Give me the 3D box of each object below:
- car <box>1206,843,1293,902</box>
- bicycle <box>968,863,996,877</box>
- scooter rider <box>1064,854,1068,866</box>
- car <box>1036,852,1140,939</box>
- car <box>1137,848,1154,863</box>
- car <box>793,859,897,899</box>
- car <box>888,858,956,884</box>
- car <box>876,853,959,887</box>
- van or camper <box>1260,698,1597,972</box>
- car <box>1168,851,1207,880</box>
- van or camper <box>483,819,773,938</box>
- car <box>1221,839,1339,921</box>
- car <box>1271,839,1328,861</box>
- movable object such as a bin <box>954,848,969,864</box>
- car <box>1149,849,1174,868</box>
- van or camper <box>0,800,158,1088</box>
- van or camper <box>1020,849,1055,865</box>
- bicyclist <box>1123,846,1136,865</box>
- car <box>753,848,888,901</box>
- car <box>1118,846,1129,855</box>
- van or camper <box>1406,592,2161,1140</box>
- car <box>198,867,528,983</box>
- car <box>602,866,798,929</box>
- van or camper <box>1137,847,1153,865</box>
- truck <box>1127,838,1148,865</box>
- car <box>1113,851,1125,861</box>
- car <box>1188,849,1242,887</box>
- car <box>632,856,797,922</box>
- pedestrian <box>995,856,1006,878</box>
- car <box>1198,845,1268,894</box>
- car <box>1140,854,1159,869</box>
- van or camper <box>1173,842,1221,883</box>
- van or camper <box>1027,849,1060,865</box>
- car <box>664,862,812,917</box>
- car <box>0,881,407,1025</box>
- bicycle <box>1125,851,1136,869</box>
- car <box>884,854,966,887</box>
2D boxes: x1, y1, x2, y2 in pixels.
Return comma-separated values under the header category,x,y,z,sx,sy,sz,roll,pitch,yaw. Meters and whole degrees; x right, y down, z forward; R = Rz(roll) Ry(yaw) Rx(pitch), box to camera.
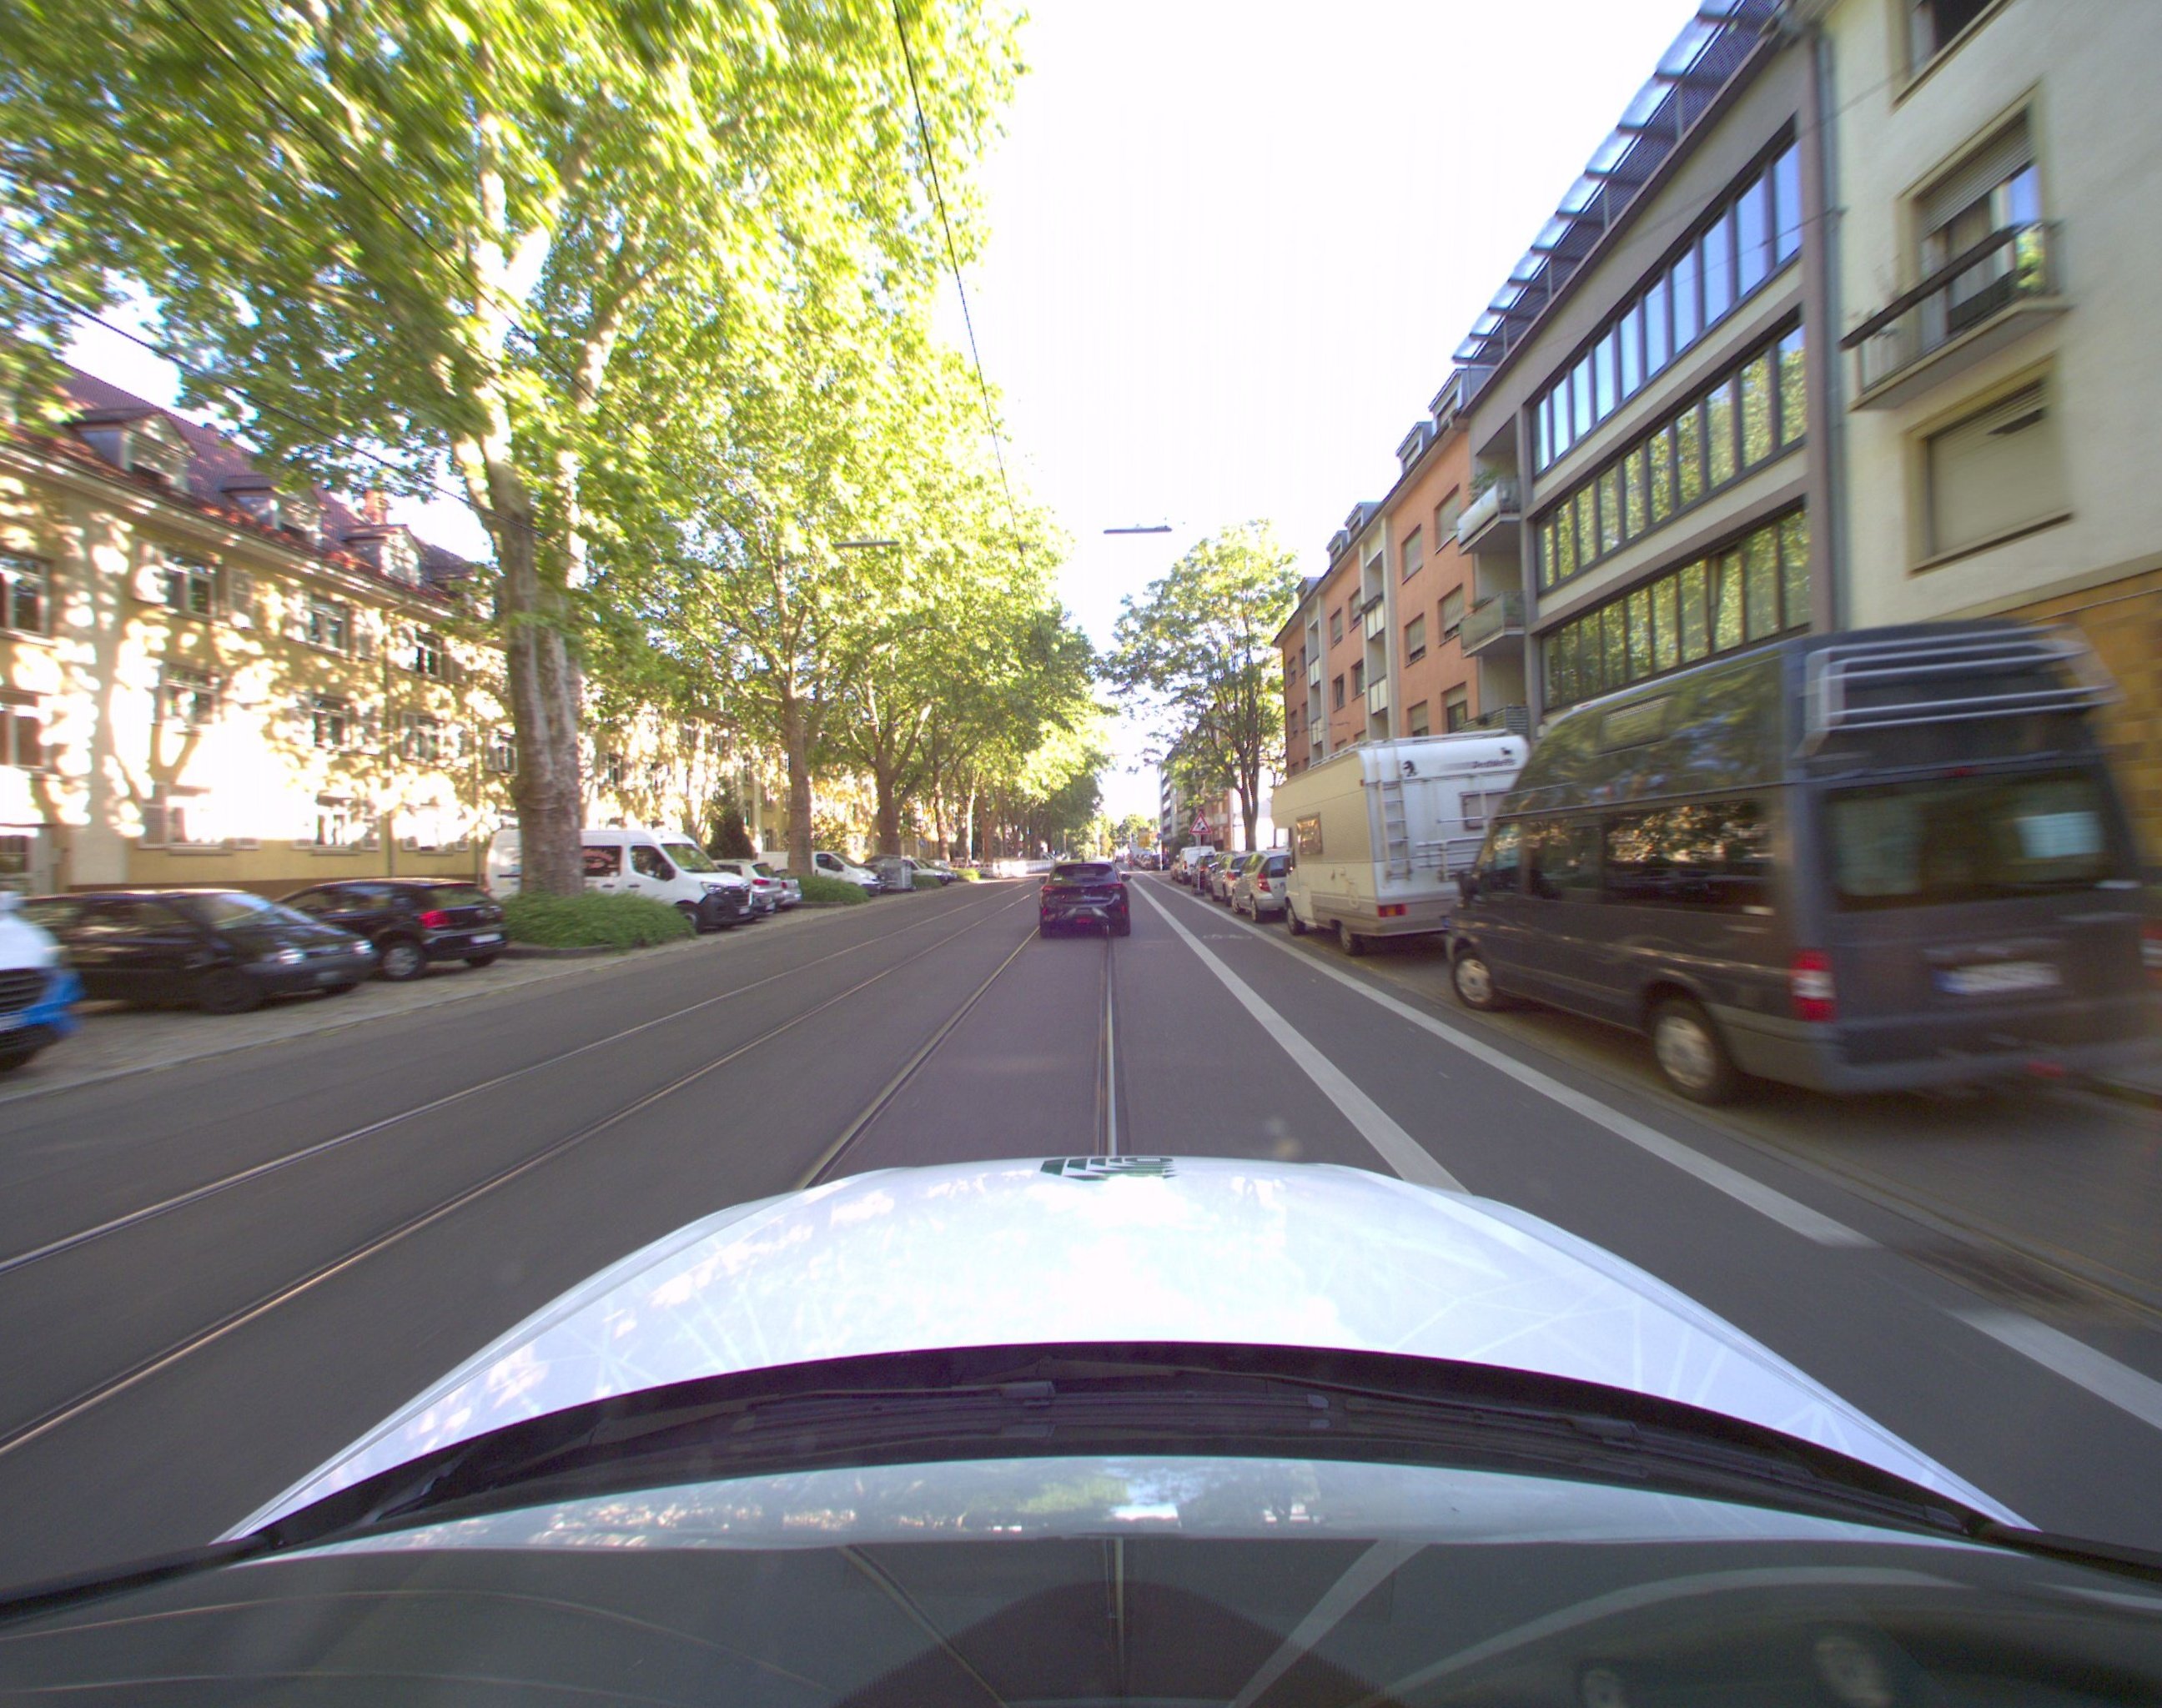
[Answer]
category,x,y,z,sx,sy,sz,roll,pitch,yaw
car,4.989,0.504,24.681,1.781,1.522,4.323,-4,0,1
bicycle,-7.469,1.227,61.333,1.964,0.963,0.726,-2,0,2
scooter rider,-2.428,0.995,132.510,0.647,1.957,0.624,-1,-1,2
car,0.177,0.723,16.228,1.775,1.496,4.001,-1,0,1
car,7.139,0.142,89.856,1.653,1.580,3.591,-3,0,2
car,-10.071,1.038,34.960,3.832,1.498,1.863,-2,0,2
car,-10.063,1.069,51.742,3.832,1.498,1.863,-2,0,2
car,-9.057,0.877,45.290,4.181,1.757,1.741,-1,0,2
van or camper,4.770,-0.227,12.688,2.454,3.064,6.268,-4,0,0
car,5.937,0.602,45.801,1.699,1.473,4.002,-2,0,2
van or camper,-10.433,0.538,19.114,5.368,2.516,2.446,-1,0,2
car,4.605,0.552,19.504,1.786,1.628,4.278,-4,0,1
car,16.503,-0.279,61.646,3.900,1.482,1.562,-2,3,0
movable object such as a bin,-13.709,0.226,93.271,1.328,1.869,2.008,-1,-1,2
car,6.926,0.398,70.261,1.727,1.462,3.917,-4,0,1
van or camper,-10.625,0.734,6.100,4.807,2.190,2.118,-1,0,-2
van or camper,-7.102,0.491,133.318,5.475,2.379,2.273,-1,-1,5
bicyclist,4.322,0.102,72.941,1.085,1.647,1.401,-1,0,2
car,-10.191,0.776,32.138,4.644,1.945,1.960,-1,0,-2
car,9.164,-0.787,176.071,1.986,1.695,4.741,-4,0,1
van or camper,4.724,0.056,6.630,2.124,2.663,4.981,-4,0,1
car,-10.790,1.026,12.397,3.665,1.565,1.615,-1,0,4
car,-9.877,1.104,21.325,4.248,1.398,1.754,-2,0,2
van or camper,7.434,0.236,94.599,1.662,1.883,4.213,-3,0,2
truck,7.748,-0.315,111.973,2.528,3.338,7.199,-4,-1,2
car,7.324,0.407,156.843,1.986,1.695,4.741,-4,0,1
car,5.669,0.567,34.900,1.699,1.473,4.169,-2,0,2
car,-10.490,0.983,23.506,3.832,1.663,1.863,-2,0,2
pedestrian,-6.050,0.973,61.363,0.714,1.669,0.779,-1,-1,2
car,5.467,0.523,29.822,1.761,1.572,4.338,-4,0,1
car,7.052,0.785,84.545,1.653,1.399,4.741,-4,0,1
van or camper,5.701,0.396,40.541,1.748,1.864,4.832,-2,0,2
van or camper,-6.557,0.563,142.738,5.701,2.644,2.270,-1,-1,2
car,-10.800,1.091,25.842,3.832,1.498,1.863,-2,0,2
car,-10.795,1.135,9.981,3.524,1.459,1.693,-1,0,-5
bicycle,4.427,0.535,72.918,0.912,1.561,3.407,-1,0,2
car,-9.085,0.941,47.535,4.210,1.688,1.938,-2,0,8
